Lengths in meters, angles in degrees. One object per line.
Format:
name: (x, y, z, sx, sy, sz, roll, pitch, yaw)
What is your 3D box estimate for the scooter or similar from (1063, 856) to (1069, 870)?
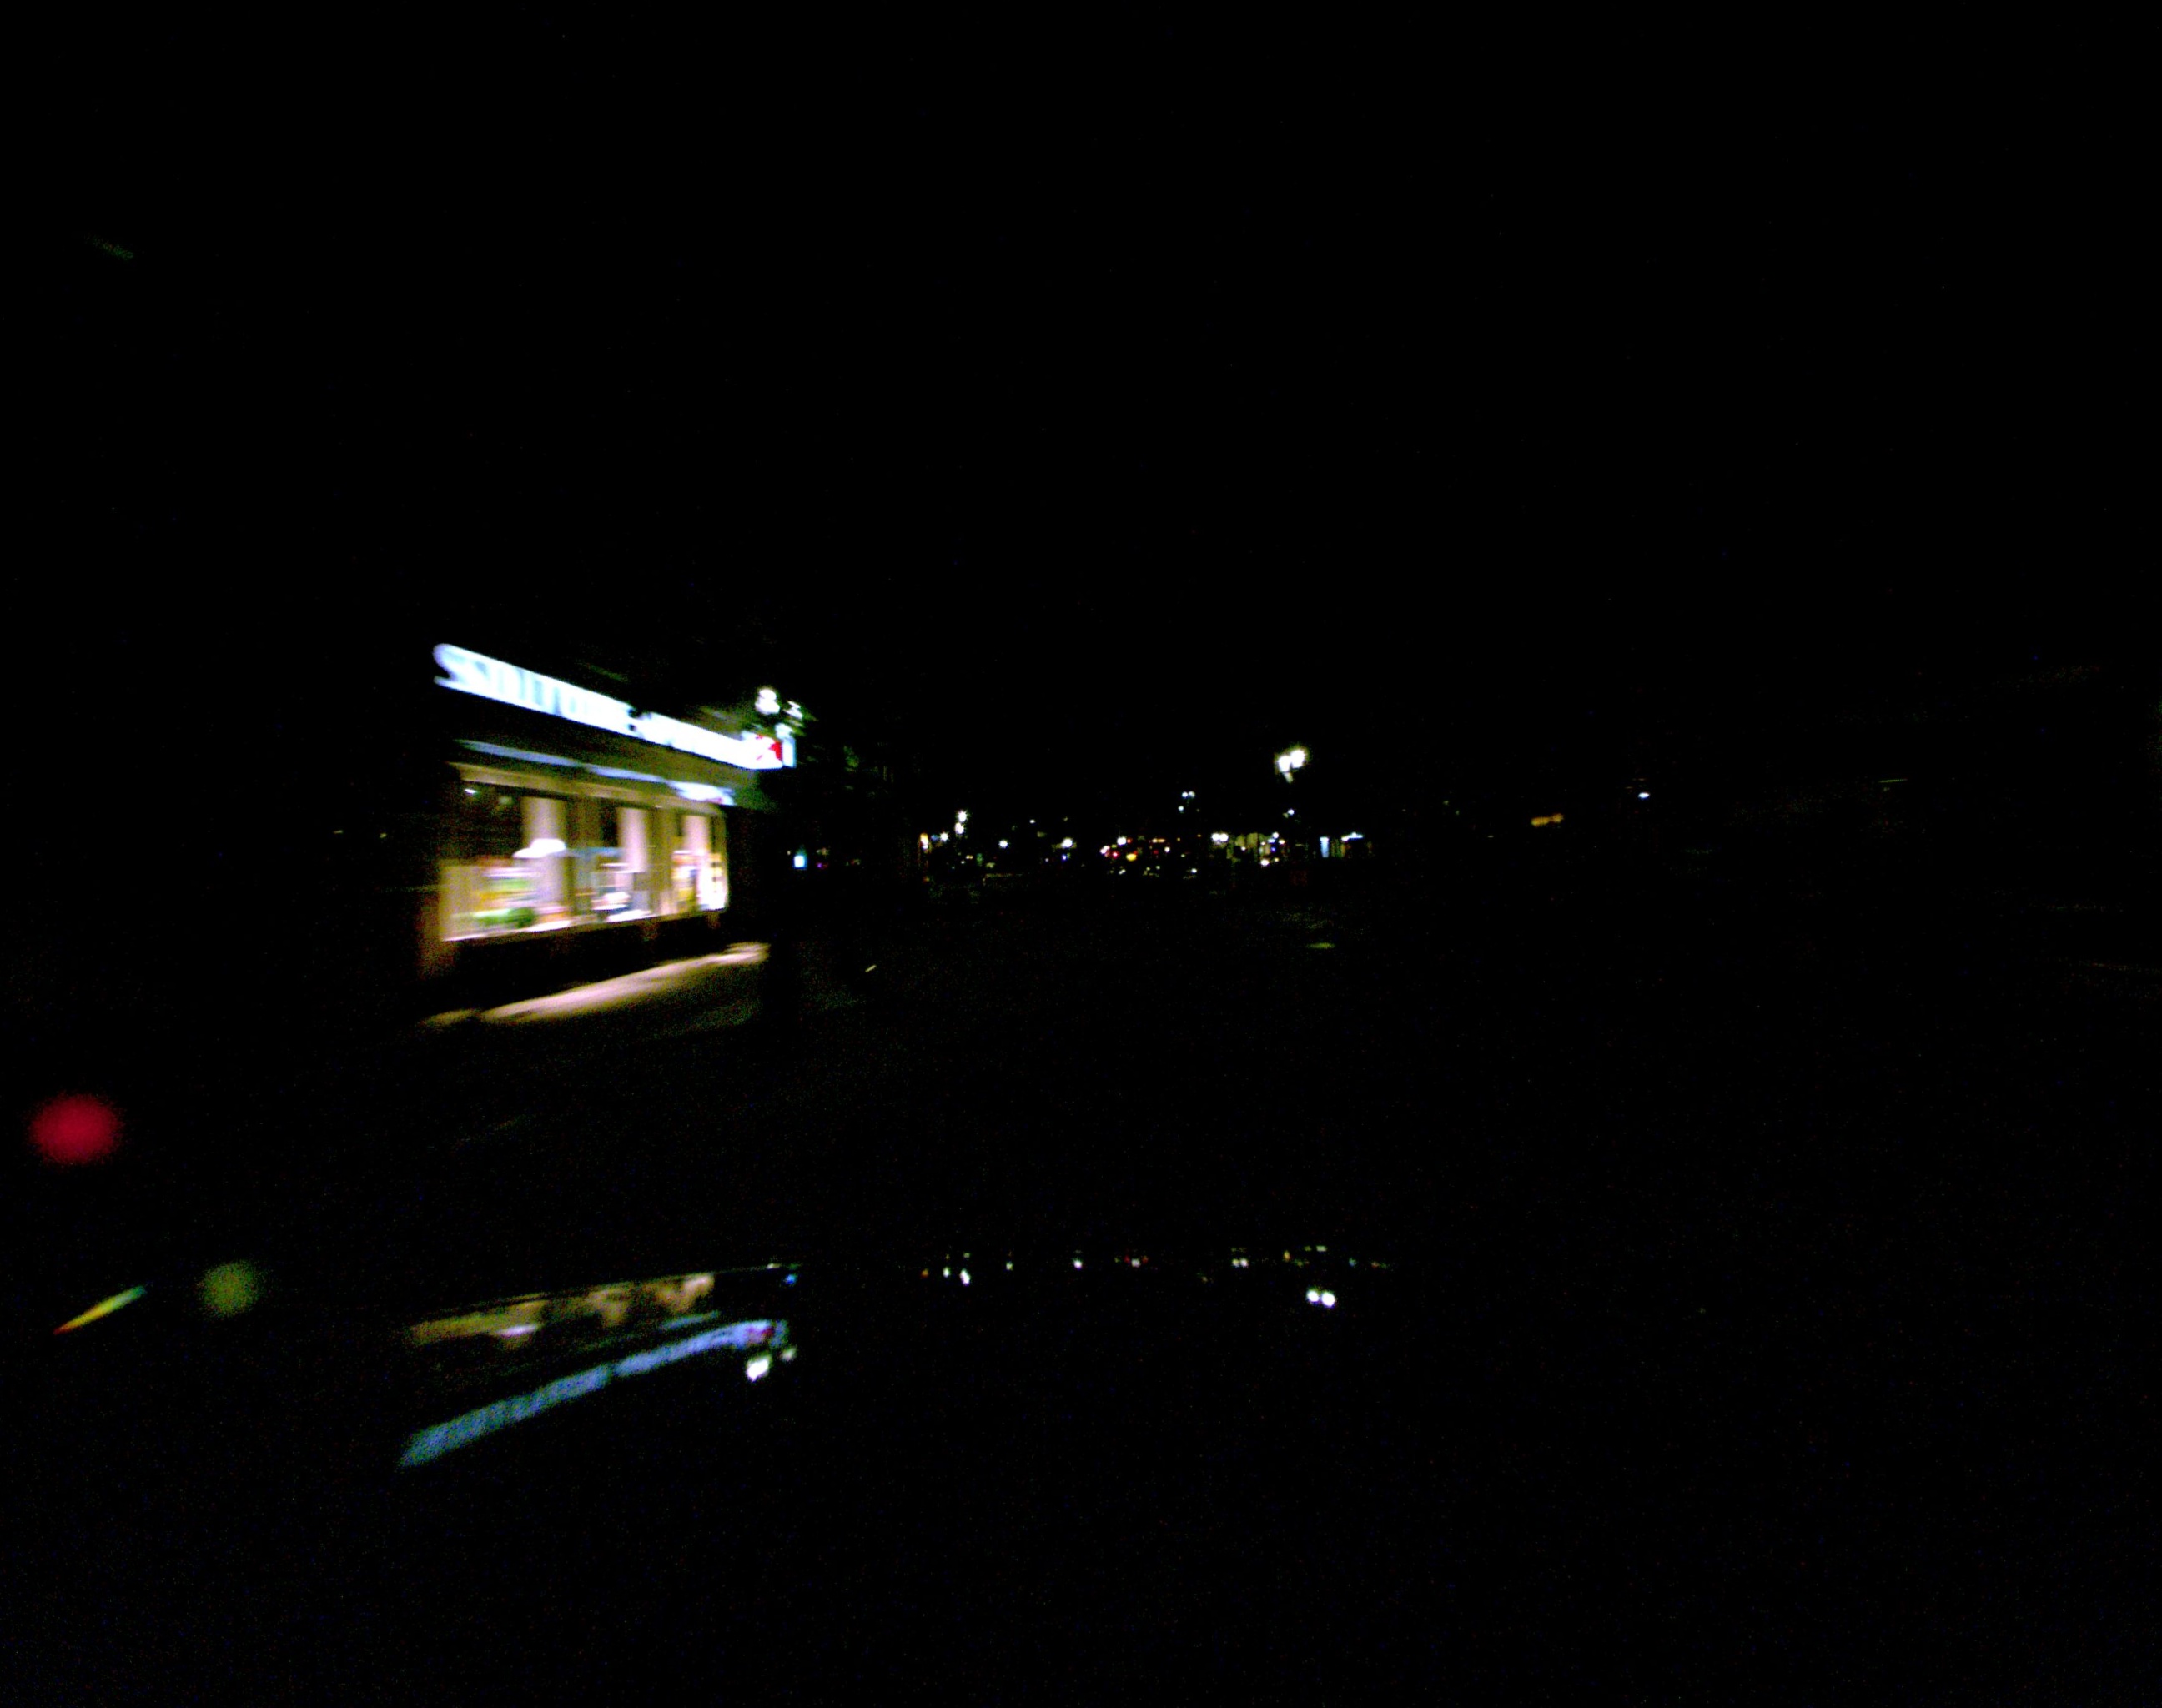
scooter or similar: (-1.428, 0.884, 70.889, 0.318, 1.280, 1.448, -3, 0, -8)

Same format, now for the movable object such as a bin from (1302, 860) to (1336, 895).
movable object such as a bin: (7.580, 0.750, 24.270, 0.749, 1.059, 0.792, -2, 1, -8)

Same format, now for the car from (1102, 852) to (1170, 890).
car: (2.450, 0.753, 35.323, 1.911, 1.533, 4.777, -3, 0, -11)

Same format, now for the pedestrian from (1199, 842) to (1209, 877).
pedestrian: (6.606, 0.294, 40.776, 0.502, 1.811, 0.503, -1, 2, 10)

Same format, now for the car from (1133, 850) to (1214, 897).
car: (3.473, 0.706, 29.481, 1.764, 1.628, 4.811, -2, 0, -9)

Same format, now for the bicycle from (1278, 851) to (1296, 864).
bicycle: (21.999, 0.342, 81.128, 0.775, 1.356, 2.508, -2, 1, -10)

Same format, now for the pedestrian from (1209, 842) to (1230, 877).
pedestrian: (7.466, 0.280, 40.936, 0.879, 1.821, 0.791, -3, 1, 18)

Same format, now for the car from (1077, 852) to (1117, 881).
car: (0.916, 0.690, 46.174, 1.776, 1.565, 4.479, -3, 1, -7)

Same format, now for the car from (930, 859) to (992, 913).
car: (-3.932, 0.992, 25.532, 1.747, 1.479, 4.633, -2, 1, -6)

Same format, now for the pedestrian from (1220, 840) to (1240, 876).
pedestrian: (7.938, 0.214, 40.374, 0.793, 1.807, 1.024, -3, 1, 19)
